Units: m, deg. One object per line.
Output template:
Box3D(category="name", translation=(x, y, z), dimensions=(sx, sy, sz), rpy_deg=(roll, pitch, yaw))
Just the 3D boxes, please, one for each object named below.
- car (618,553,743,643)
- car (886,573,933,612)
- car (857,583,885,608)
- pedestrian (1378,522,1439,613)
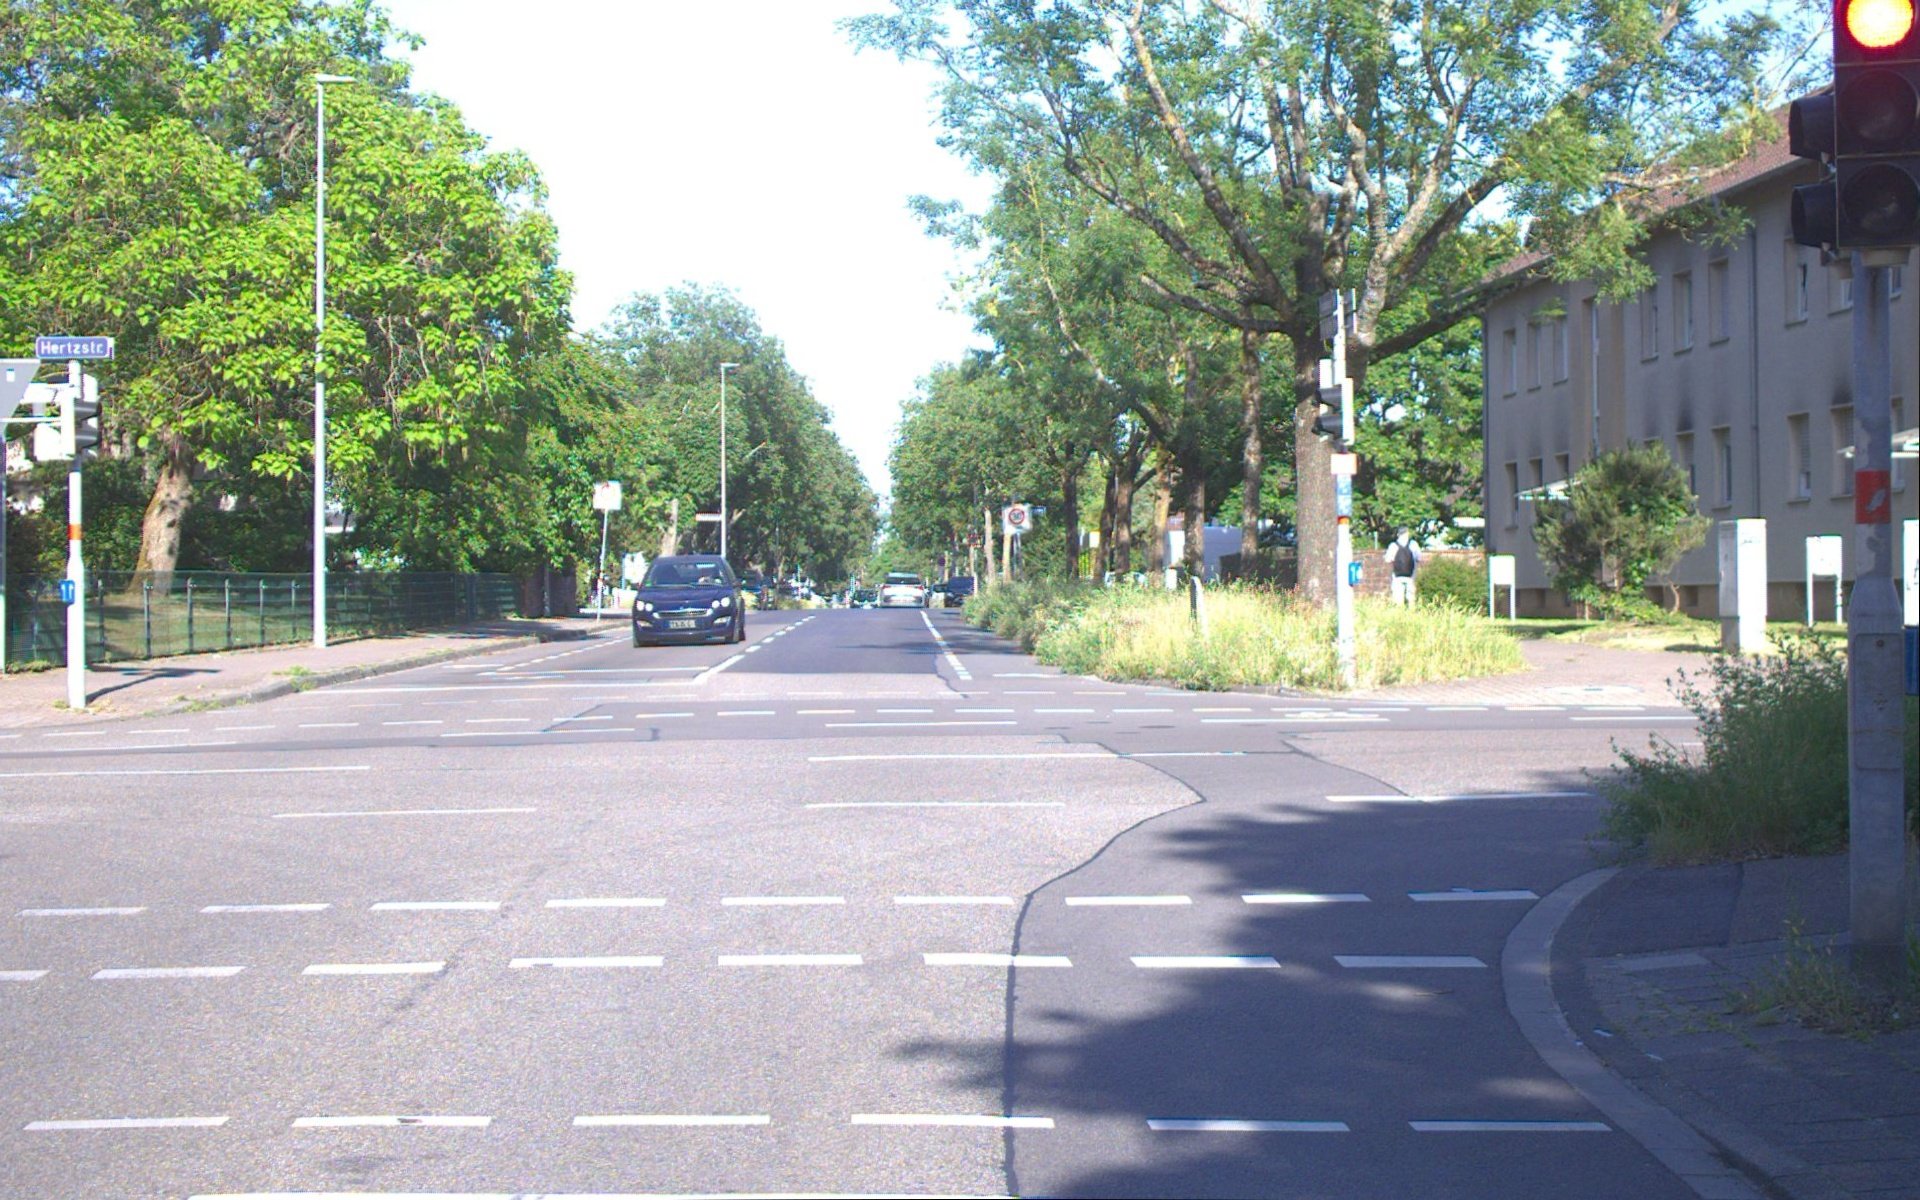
Box3D(category="car", translation=(-4.491, -0.058, 55.713), dimensions=(1.711, 1.381, 3.471), rpy_deg=(0, 1, 0))
Box3D(category="car", translation=(-1.992, -0.322, 135.499), dimensions=(1.844, 1.456, 3.530), rpy_deg=(0, 1, -1))
Box3D(category="car", translation=(-5.940, -0.294, 230.048), dimensions=(1.758, 1.619, 3.268), rpy_deg=(0, 1, 0))
Box3D(category="pedestrian", translation=(7.504, -0.547, 57.563), dimensions=(0.842, 1.488, 0.924), rpy_deg=(2, 1, -1))
